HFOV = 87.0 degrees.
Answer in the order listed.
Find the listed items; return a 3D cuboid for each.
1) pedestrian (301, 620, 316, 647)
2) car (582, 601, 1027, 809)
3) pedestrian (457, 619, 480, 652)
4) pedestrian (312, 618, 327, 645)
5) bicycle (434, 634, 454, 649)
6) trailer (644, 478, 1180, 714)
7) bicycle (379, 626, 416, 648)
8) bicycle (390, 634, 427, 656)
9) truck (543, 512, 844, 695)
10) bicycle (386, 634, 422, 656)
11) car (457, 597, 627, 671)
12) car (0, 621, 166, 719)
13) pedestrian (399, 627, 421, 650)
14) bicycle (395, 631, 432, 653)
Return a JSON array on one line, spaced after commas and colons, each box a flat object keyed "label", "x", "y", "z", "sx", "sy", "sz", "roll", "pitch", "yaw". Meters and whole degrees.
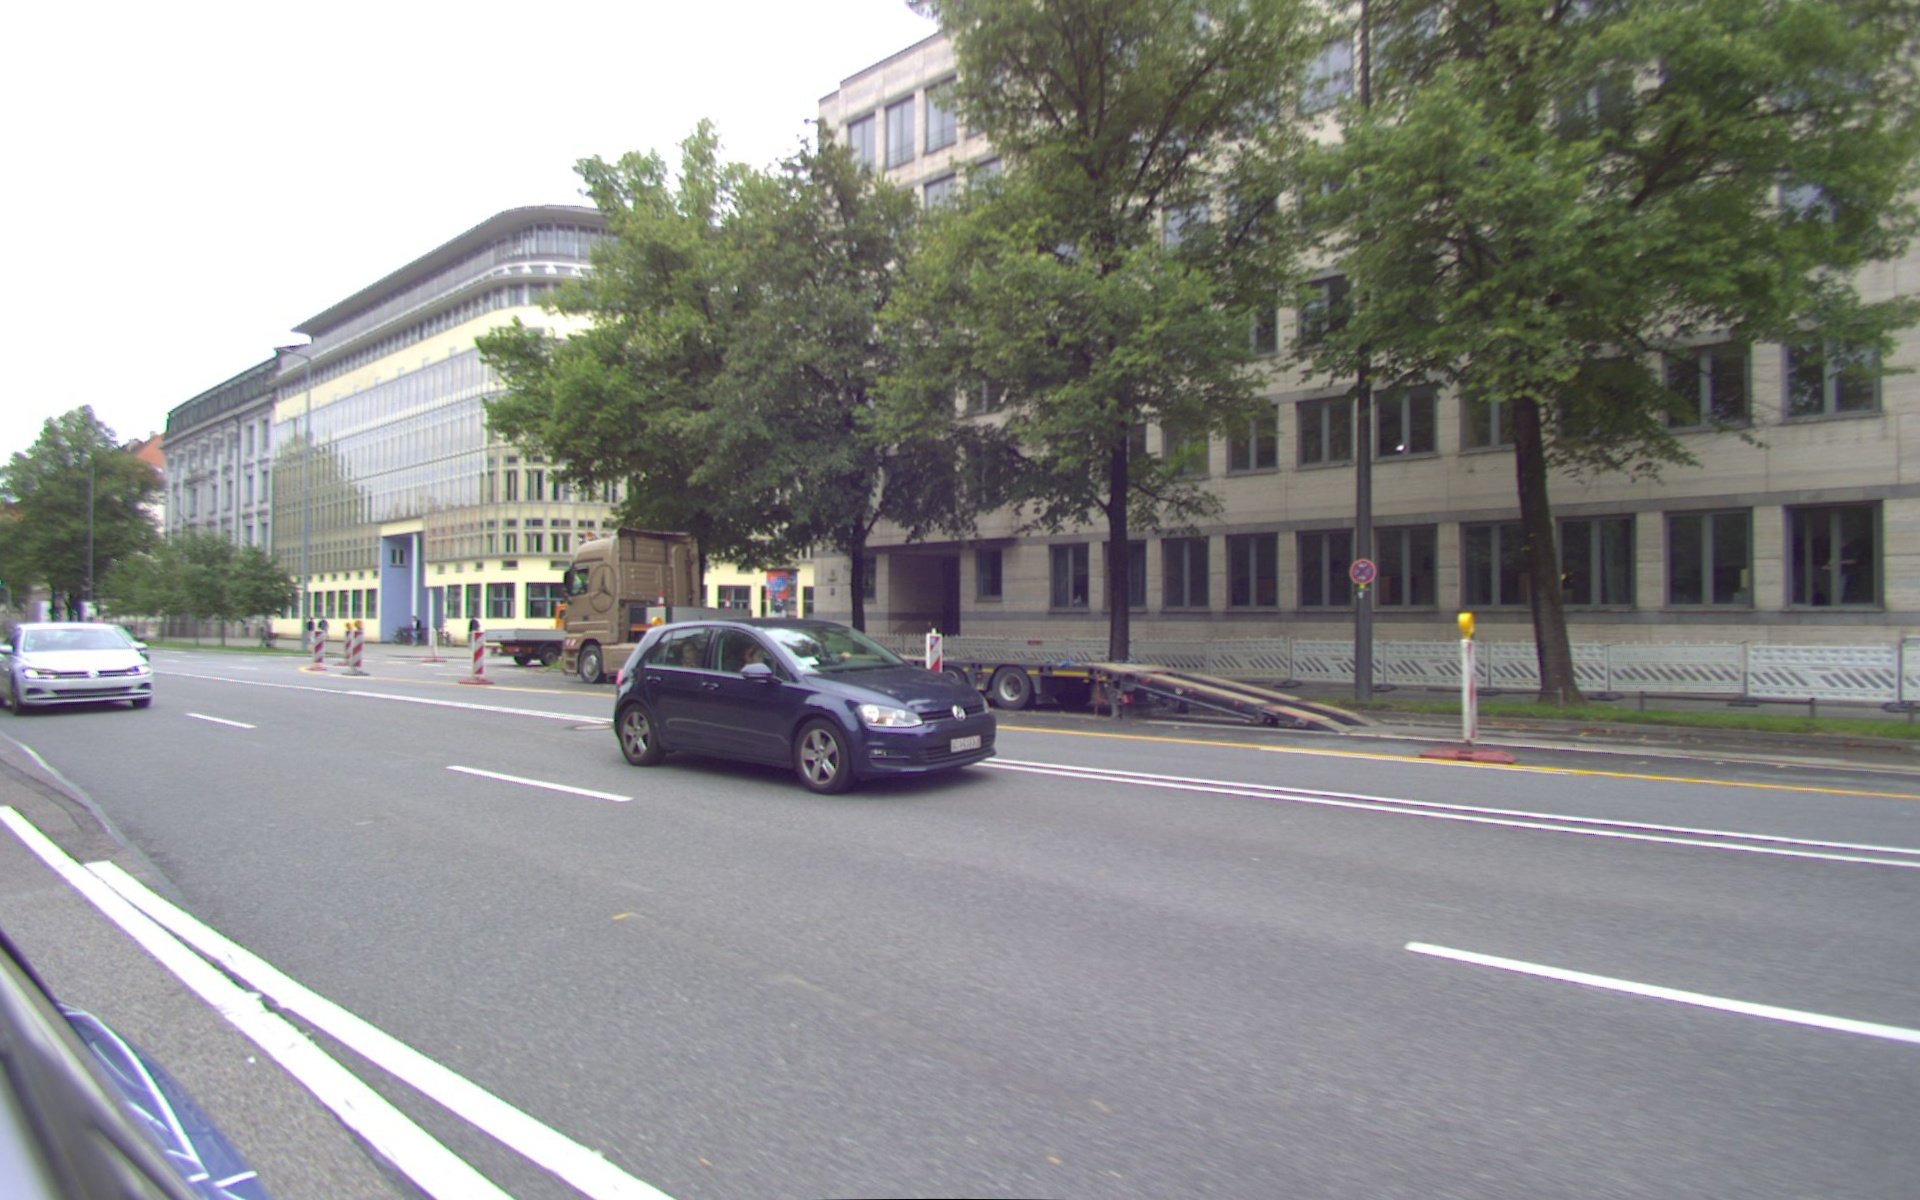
[{"label": "pedestrian", "x": -43.109, "y": 2.212, "z": 66.979, "sx": 0.835, "sy": 1.790, "sz": 0.609, "roll": -2, "pitch": -1, "yaw": 41}, {"label": "car", "x": -1.616, "y": 0.830, "z": 9.478, "sx": 4.335, "sy": 1.528, "sz": 1.674, "roll": -1, "pitch": -2, "yaw": 40}, {"label": "pedestrian", "x": -26.110, "y": 1.876, "z": 53.761, "sx": 0.978, "sy": 1.746, "sz": 0.817, "roll": -1, "pitch": -1, "yaw": -19}, {"label": "pedestrian", "x": -42.674, "y": 2.079, "z": 67.462, "sx": 0.835, "sy": 1.790, "sz": 0.609, "roll": -2, "pitch": -1, "yaw": 41}, {"label": "bicycle", "x": -29.542, "y": 2.375, "z": 57.889, "sx": 1.737, "sy": 0.884, "sz": 0.471, "roll": -2, "pitch": -3, "yaw": 44}, {"label": "trailer", "x": -1.594, "y": 0.052, "z": 20.792, "sx": 11.746, "sy": 3.768, "sz": 2.923, "roll": -1, "pitch": -1, "yaw": 36}, {"label": "bicycle", "x": -35.851, "y": 2.323, "z": 64.556, "sx": 0.637, "sy": 1.328, "sz": 1.991, "roll": -1, "pitch": -1, "yaw": 35}, {"label": "bicycle", "x": -34.668, "y": 2.825, "z": 63.653, "sx": 0.573, "sy": 1.328, "sz": 1.991, "roll": -1, "pitch": -1, "yaw": 35}, {"label": "truck", "x": -6.632, "y": 0.139, "z": 24.501, "sx": 7.651, "sy": 3.803, "sz": 2.890, "roll": -1, "pitch": -1, "yaw": 37}, {"label": "bicycle", "x": -35.169, "y": 2.829, "z": 64.033, "sx": 0.573, "sy": 1.328, "sz": 1.991, "roll": -1, "pitch": -1, "yaw": 35}, {"label": "car", "x": -15.638, "y": 1.262, "z": 38.167, "sx": 2.152, "sy": 2.556, "sz": 5.629, "roll": -1, "pitch": -2, "yaw": 36}, {"label": "car", "x": -15.114, "y": 1.085, "z": 17.142, "sx": 4.271, "sy": 1.458, "sz": 1.774, "roll": -1, "pitch": -2, "yaw": 40}, {"label": "pedestrian", "x": -33.671, "y": 2.338, "z": 61.937, "sx": 1.085, "sy": 1.375, "sz": 0.829, "roll": -2, "pitch": -3, "yaw": 40}, {"label": "bicycle", "x": -34.129, "y": 2.612, "z": 63.214, "sx": 0.573, "sy": 1.328, "sz": 1.991, "roll": -1, "pitch": -1, "yaw": 35}]
